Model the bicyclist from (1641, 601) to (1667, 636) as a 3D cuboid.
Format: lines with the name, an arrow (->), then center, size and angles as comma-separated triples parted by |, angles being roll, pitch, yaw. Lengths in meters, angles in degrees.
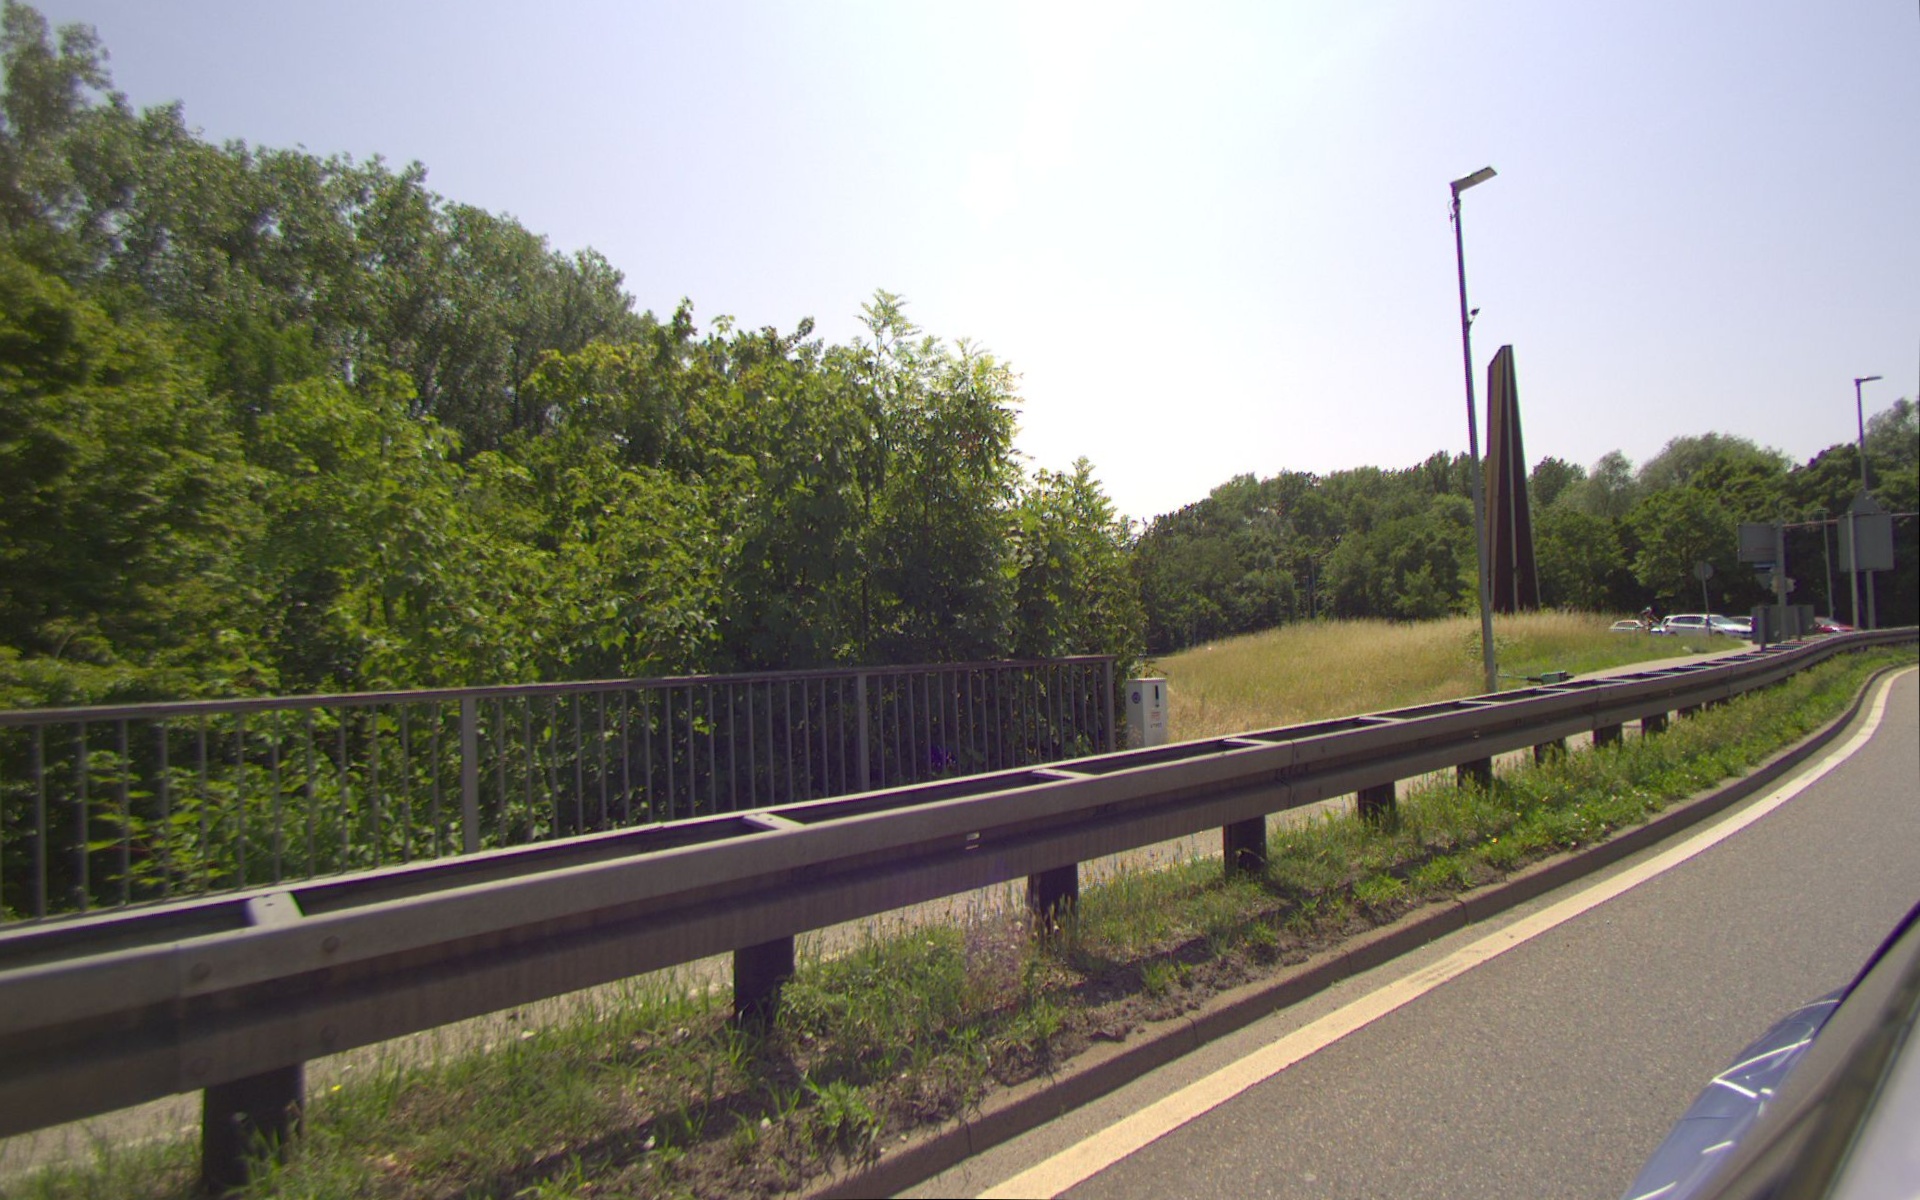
bicyclist -> 32.577, 0.884, 47.497 | 0.657, 1.619, 0.692 | -1, -2, -2

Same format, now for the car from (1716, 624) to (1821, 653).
car -> 42.791, 1.991, 53.694 | 1.830, 1.442, 4.191 | -1, -1, -7

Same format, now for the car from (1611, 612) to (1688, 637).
car -> 41.699, 1.481, 61.315 | 1.550, 1.448, 4.004 | -1, -1, -7

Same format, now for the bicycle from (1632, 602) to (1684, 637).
bicycle -> 32.581, 0.901, 47.308 | 0.643, 1.594, 2.375 | -1, -1, -3

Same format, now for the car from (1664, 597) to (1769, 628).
car -> 39.248, 0.676, 52.636 | 1.830, 1.525, 4.301 | -1, -1, -7

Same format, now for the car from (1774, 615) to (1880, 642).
car -> 46.055, 1.482, 53.893 | 1.719, 1.372, 4.191 | -1, -1, -7
